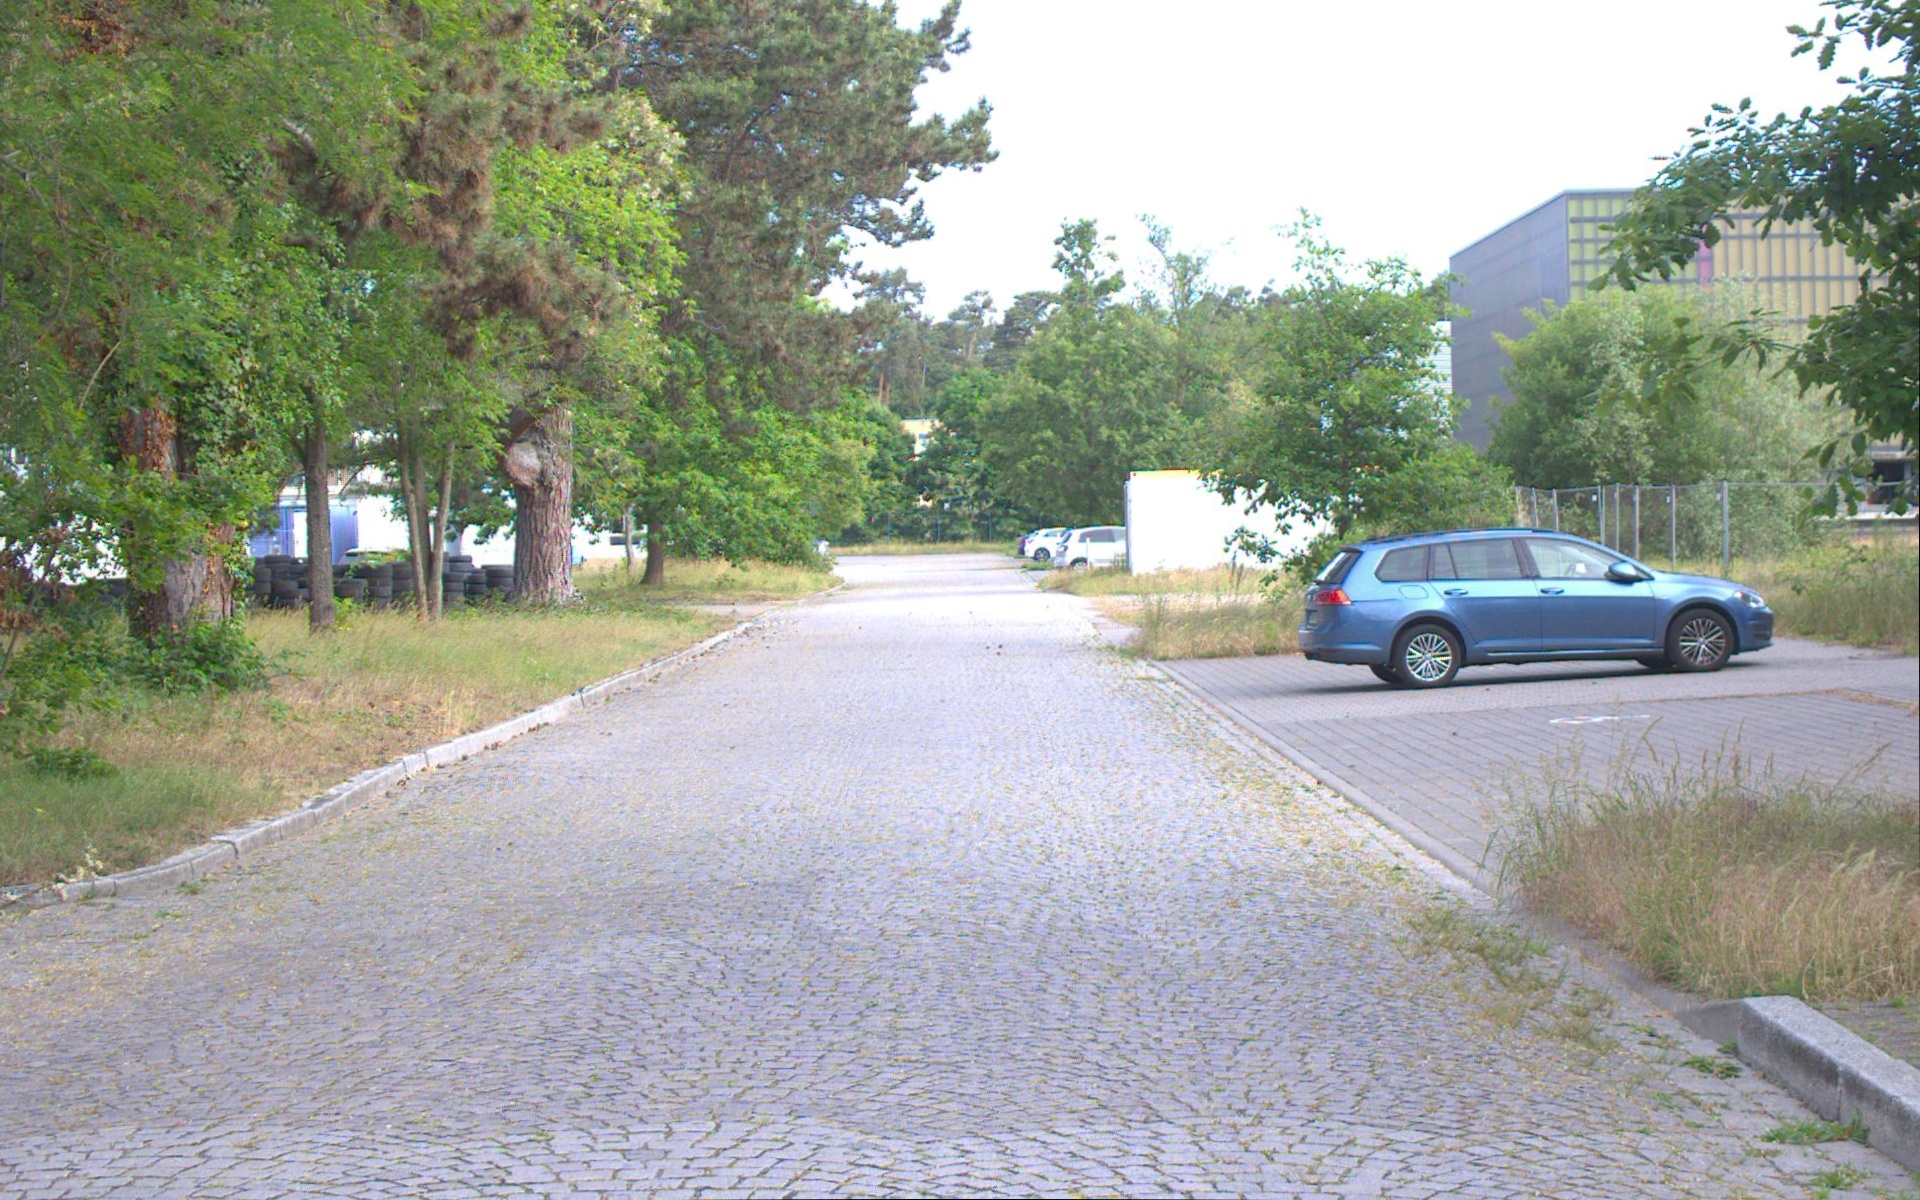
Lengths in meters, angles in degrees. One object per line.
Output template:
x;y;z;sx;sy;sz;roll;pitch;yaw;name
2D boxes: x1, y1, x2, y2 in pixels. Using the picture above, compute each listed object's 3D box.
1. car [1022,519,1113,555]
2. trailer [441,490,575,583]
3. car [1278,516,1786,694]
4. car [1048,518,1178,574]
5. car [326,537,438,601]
4.771;-2.794;153.099;4.025;1.496;1.548;-1;1;1;car
-15.653;-2.230;119.701;3.159;3.057;8.784;-1;1;2;trailer
5.502;0.023;33.416;4.521;1.438;1.824;-3;1;-3;car
4.750;-1.681;106.956;3.849;1.649;1.686;-1;1;-2;car
-13.814;-0.754;82.260;1.767;1.448;3.488;-1;1;5;car
